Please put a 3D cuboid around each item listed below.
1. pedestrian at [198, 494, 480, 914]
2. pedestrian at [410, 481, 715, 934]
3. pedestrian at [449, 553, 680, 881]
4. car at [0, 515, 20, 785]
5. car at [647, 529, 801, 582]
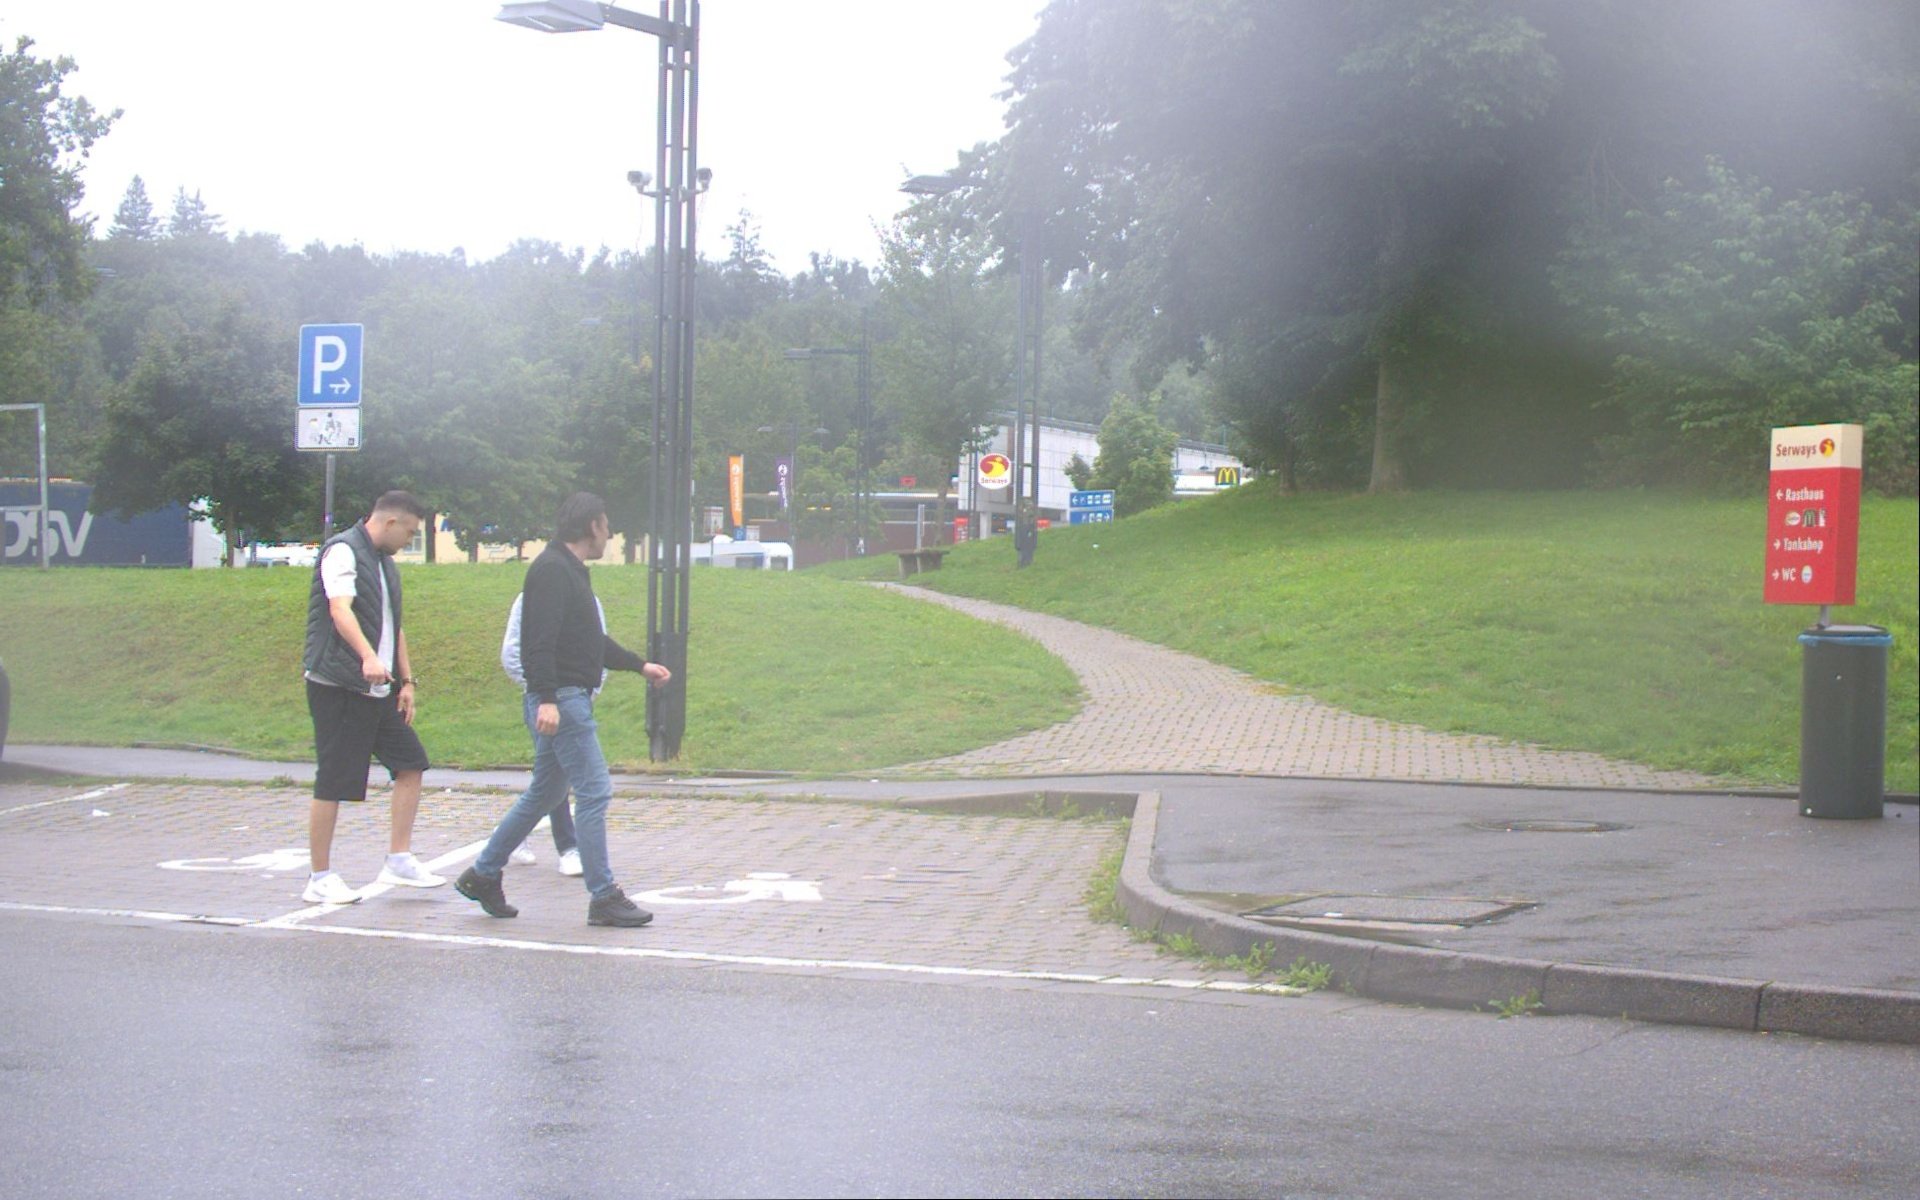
[{"bbox_3d":[-2.816,0.446,15.613,0.974,1.842,0.772,0,1,28],"label":"pedestrian"},{"bbox_3d":[-1.690,0.432,14.668,1.000,1.858,0.798,0,1,28],"label":"pedestrian"},{"bbox_3d":[-1.930,0.549,16.791,0.890,1.544,0.659,0,1,29],"label":"pedestrian"},{"bbox_3d":[-7.767,0.374,21.457,1.885,1.821,4.411,0,1,11],"label":"car"},{"bbox_3d":[-9.168,-1.737,133.754,5.429,2.007,2.453,1,1,20],"label":"car"}]
